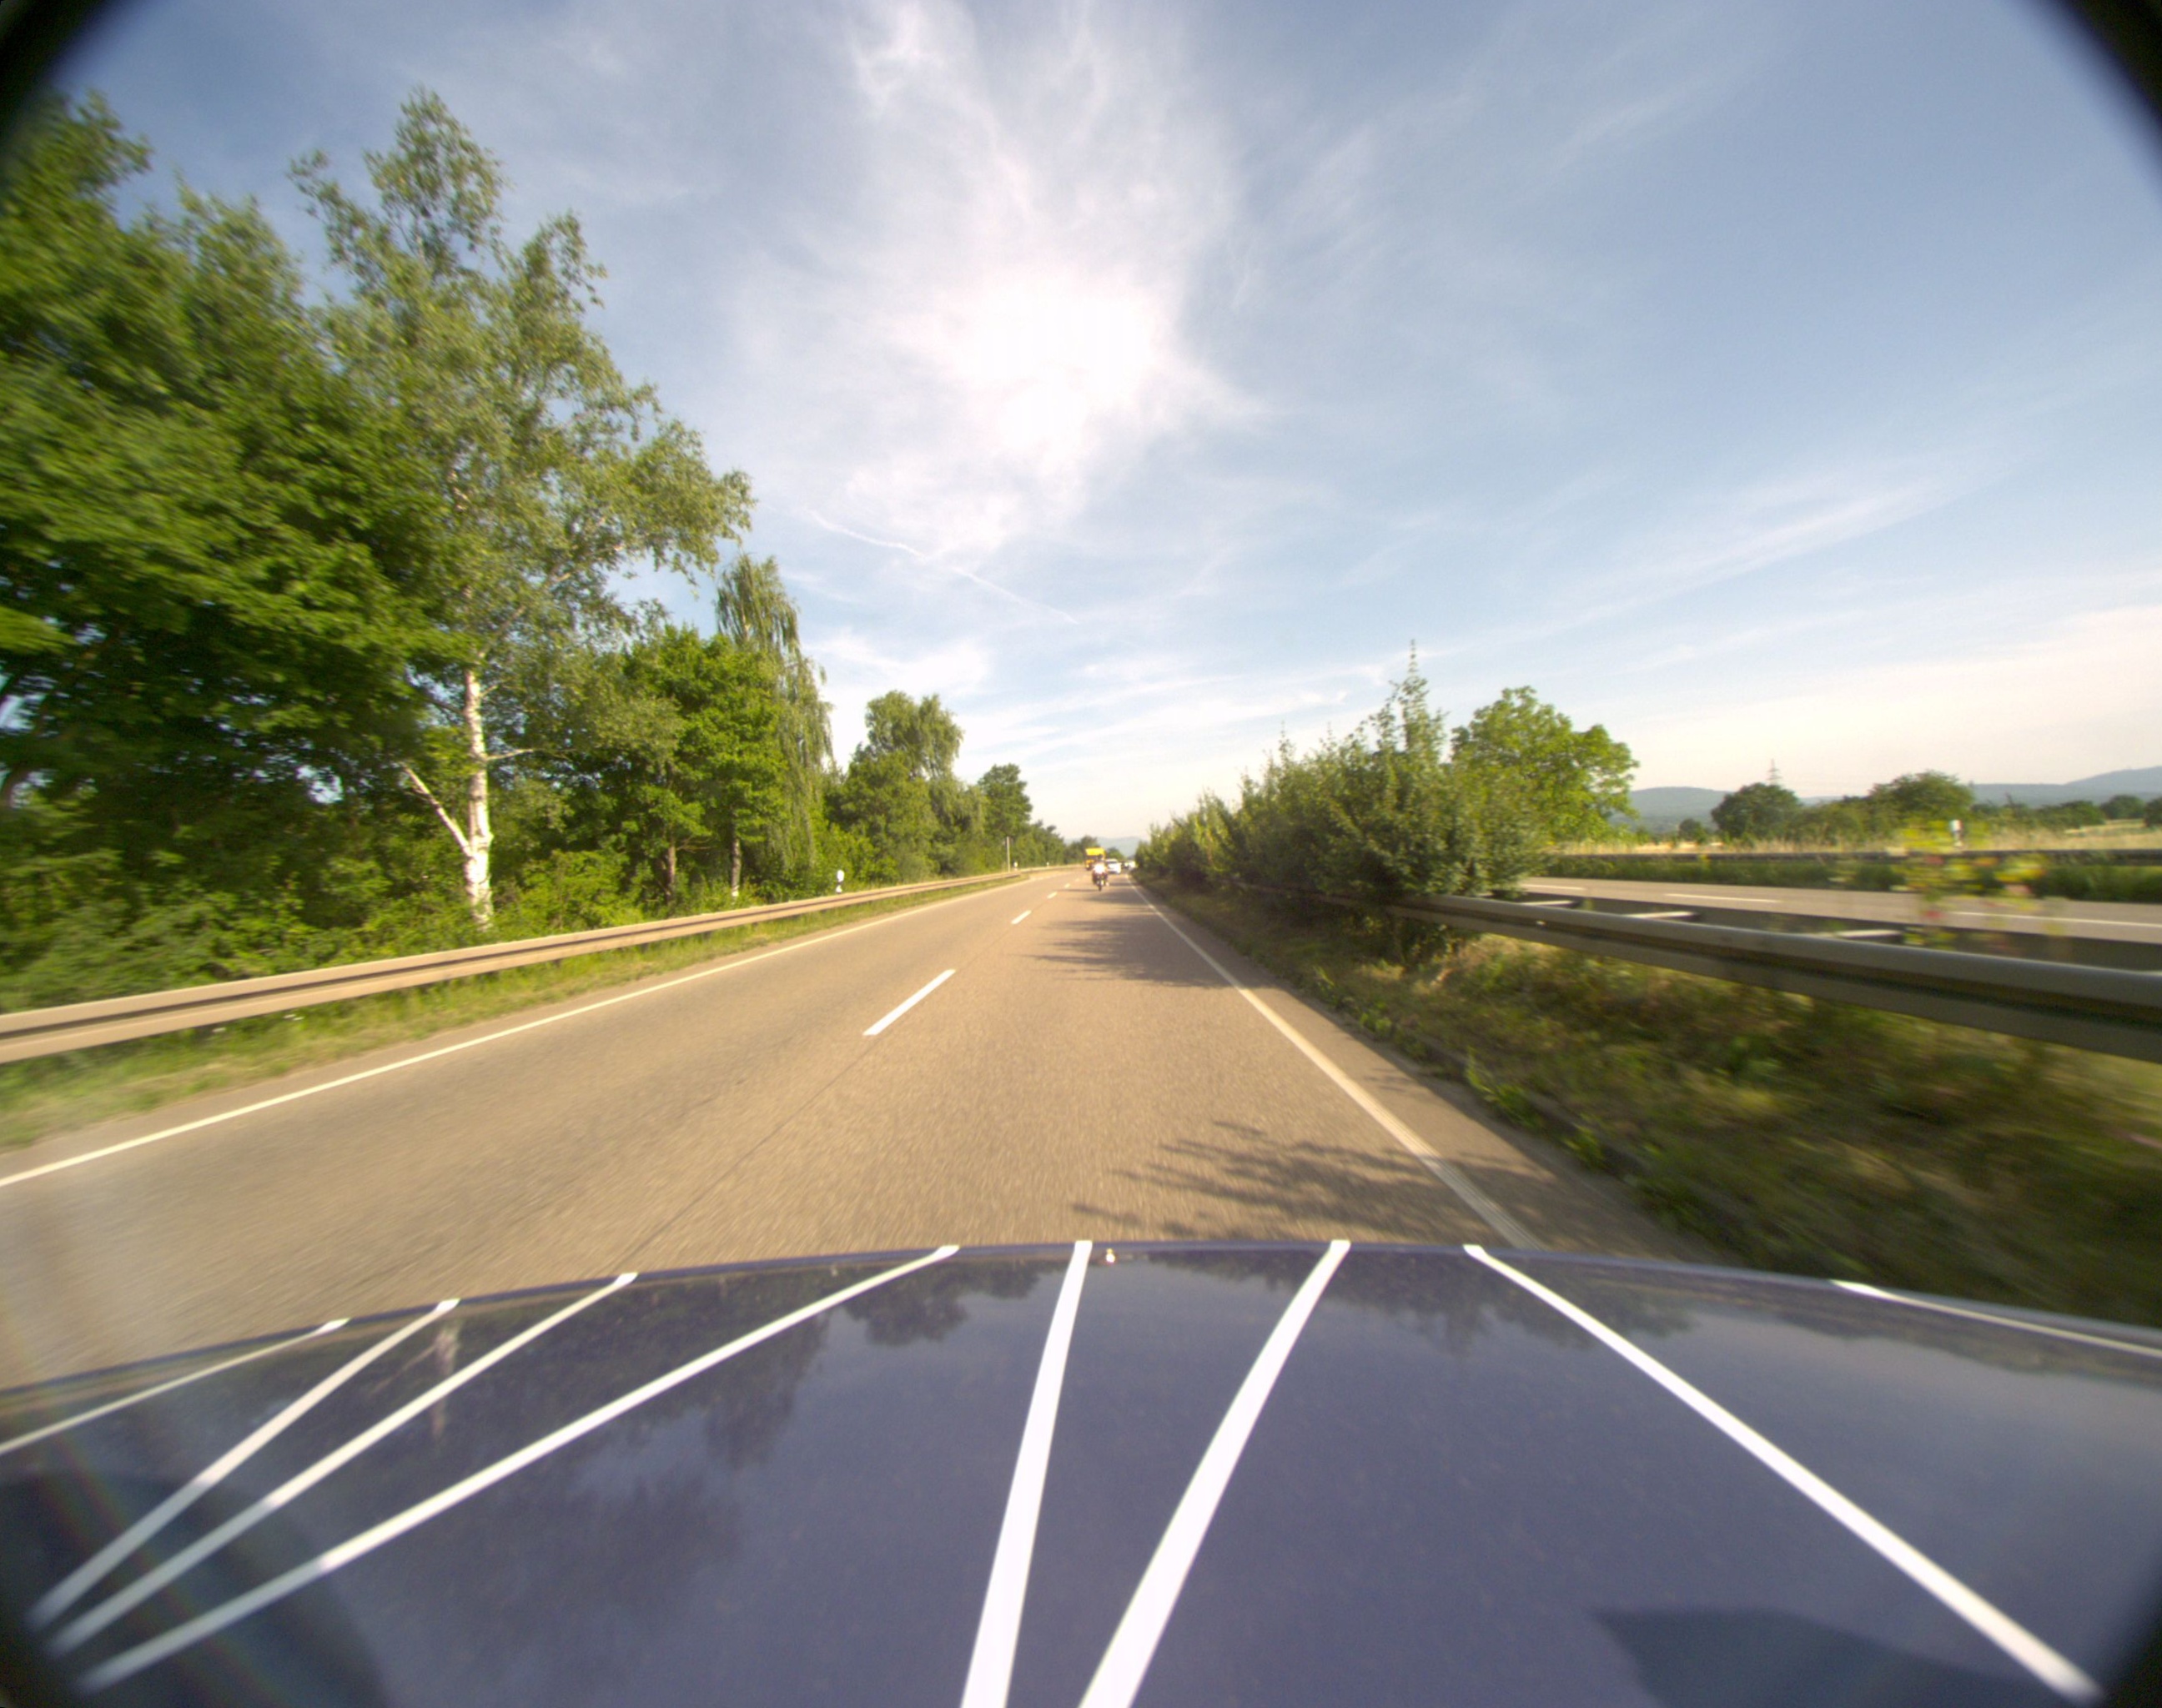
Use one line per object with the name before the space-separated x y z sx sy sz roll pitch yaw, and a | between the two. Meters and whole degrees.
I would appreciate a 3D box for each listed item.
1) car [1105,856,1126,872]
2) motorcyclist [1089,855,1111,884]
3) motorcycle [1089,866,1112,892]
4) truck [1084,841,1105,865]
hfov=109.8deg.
car | 3.415 1.010 74.608 1.869 1.454 4.085 -2 0 4
motorcyclist | 0.901 0.729 35.848 0.937 1.344 1.142 -2 0 -1
motorcycle | 0.904 1.169 35.920 0.937 1.131 2.582 -2 0 -1
truck | 2.124 -0.070 117.436 2.785 3.296 10.494 -2 -1 3
